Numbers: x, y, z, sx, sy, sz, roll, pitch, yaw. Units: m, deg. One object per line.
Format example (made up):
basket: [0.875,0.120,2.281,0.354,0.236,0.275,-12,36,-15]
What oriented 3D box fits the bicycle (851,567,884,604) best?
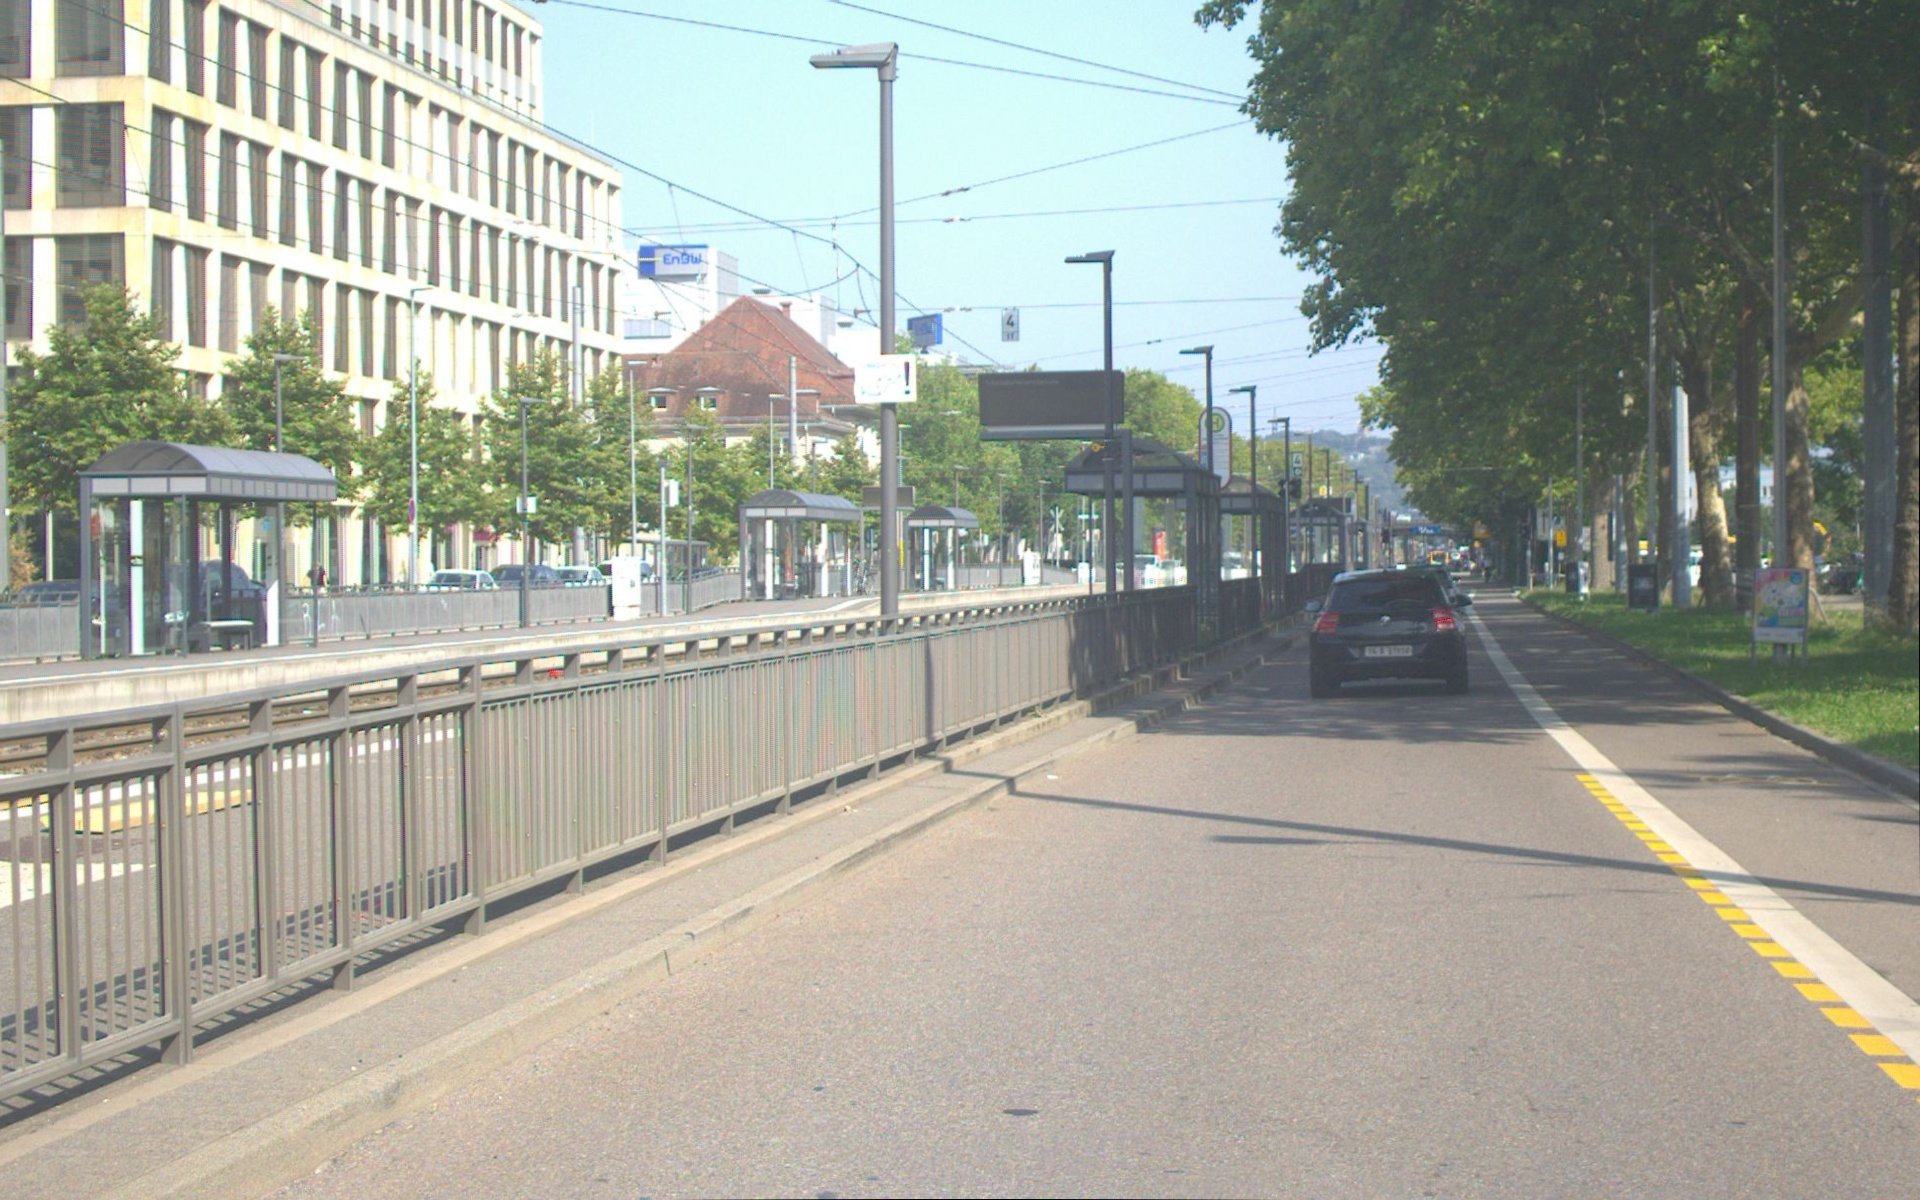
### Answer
bicycle: [-2.929,-0.462,109.432,0.471,1.143,1.482,0,0,23]

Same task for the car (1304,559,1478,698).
car: [5.015,0.299,39.924,1.908,1.532,3.999,0,0,8]

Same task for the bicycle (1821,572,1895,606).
bicycle: [28.580,-0.349,109.411,2.174,1.073,0.743,-1,0,7]

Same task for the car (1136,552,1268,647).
car: [4.375,-0.033,61.551,1.994,1.554,3.999,-2,1,9]

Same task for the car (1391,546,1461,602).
car: [13.125,-0.754,96.821,1.908,1.532,3.999,-1,1,8]

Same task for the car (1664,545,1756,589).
car: [35.202,-1.534,161.495,4.105,1.912,1.847,-2,0,11]

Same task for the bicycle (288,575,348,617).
bicycle: [-13.446,-0.072,72.043,0.629,0.819,1.897,-4,-1,8]

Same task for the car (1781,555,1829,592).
car: [36.602,-1.151,148.984,1.608,1.570,3.795,-2,0,9]

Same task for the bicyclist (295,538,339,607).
bicyclist: [-13.477,-0.578,72.057,0.629,1.397,0.784,-4,-1,8]

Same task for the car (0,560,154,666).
car: [-14.030,0.182,53.346,1.662,1.565,3.758,-1,1,9]

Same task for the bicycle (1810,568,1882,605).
bicycle: [28.969,-0.446,112.414,2.174,1.073,0.743,-3,0,12]
